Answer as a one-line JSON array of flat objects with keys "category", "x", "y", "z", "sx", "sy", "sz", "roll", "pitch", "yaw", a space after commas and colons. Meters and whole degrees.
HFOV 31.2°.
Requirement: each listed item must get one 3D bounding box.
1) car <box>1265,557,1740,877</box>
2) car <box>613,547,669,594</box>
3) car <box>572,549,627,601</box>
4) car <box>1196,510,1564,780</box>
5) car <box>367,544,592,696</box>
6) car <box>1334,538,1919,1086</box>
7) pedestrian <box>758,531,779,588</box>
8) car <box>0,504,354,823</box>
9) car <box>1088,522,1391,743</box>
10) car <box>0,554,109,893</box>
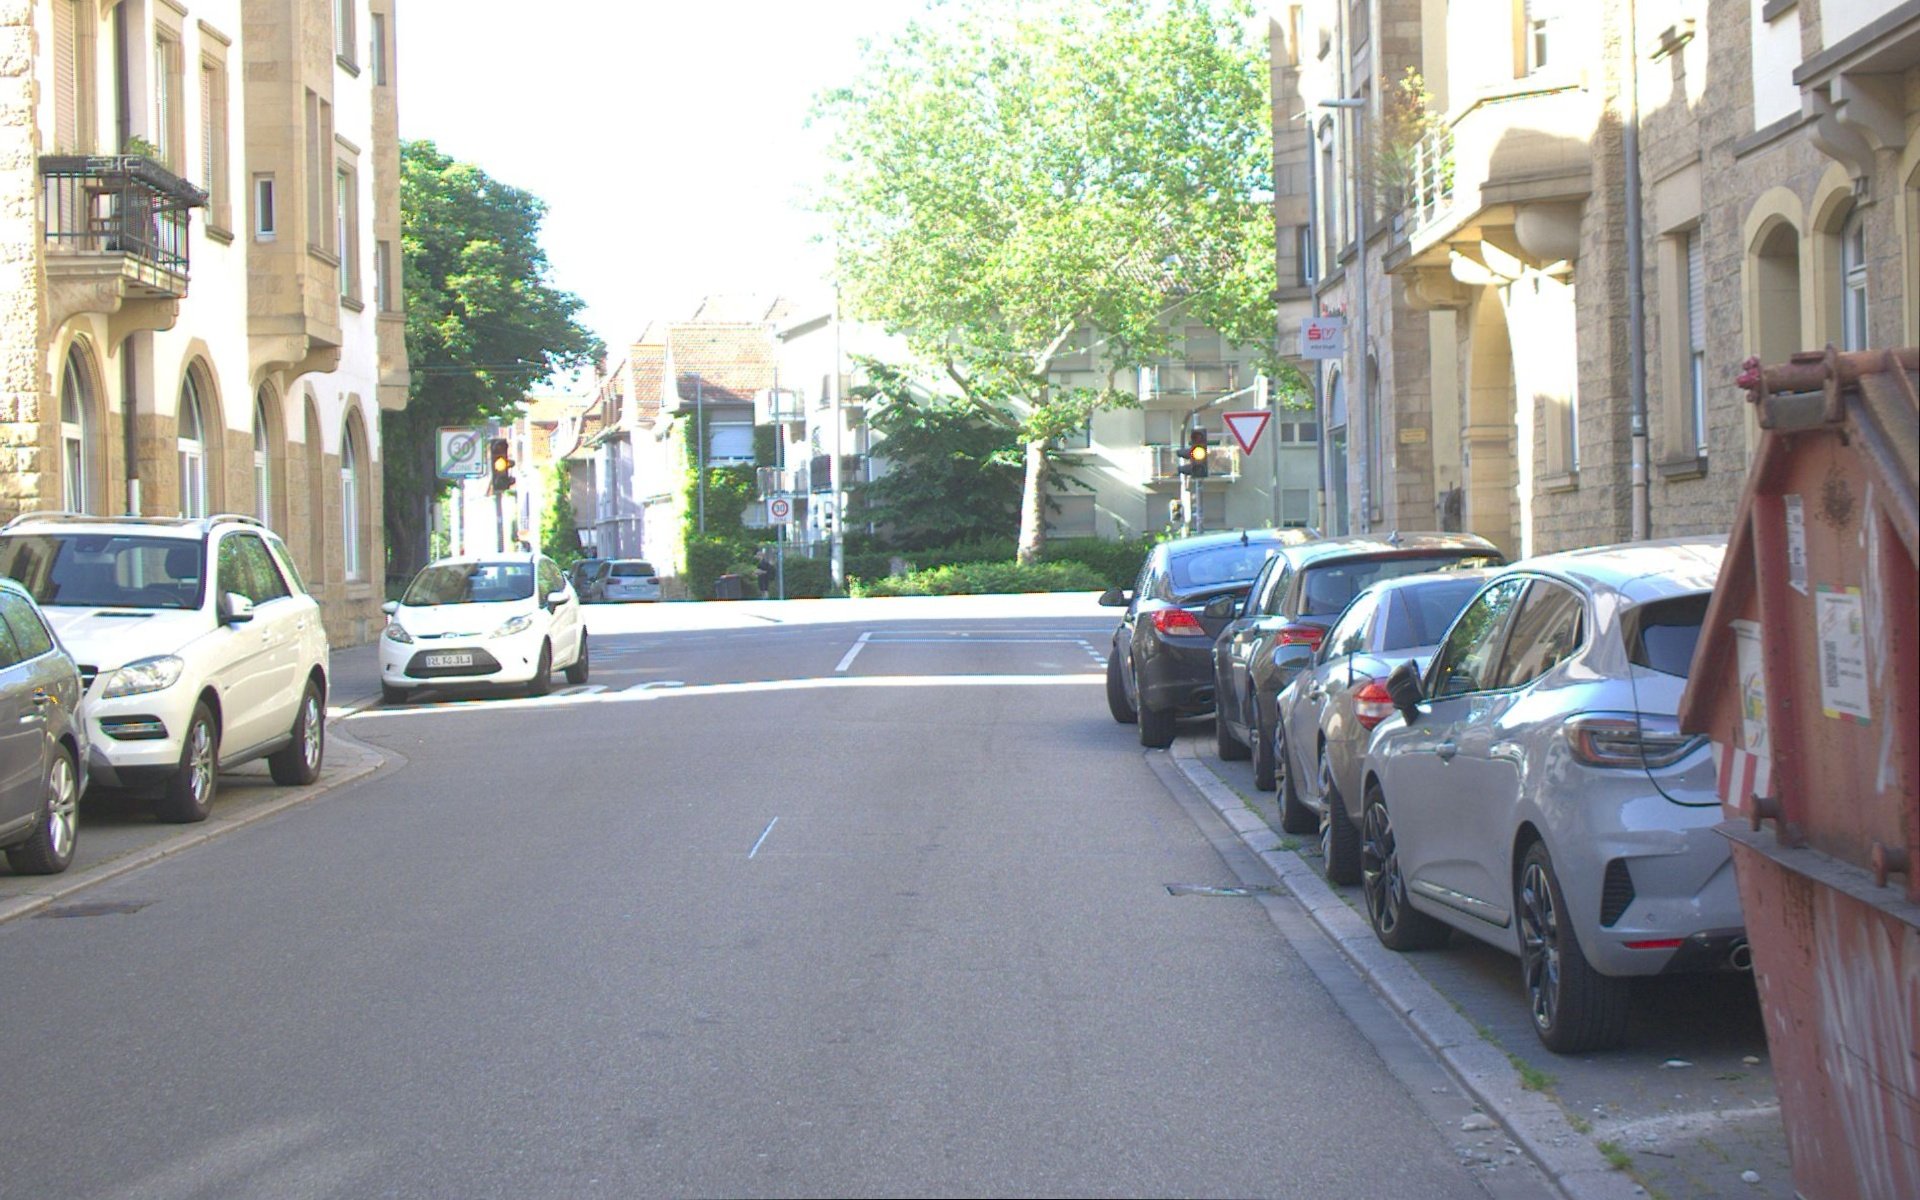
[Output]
[{"category": "car", "x": 2.397, "y": 0.457, "z": 16.060, "sx": 1.693, "sy": 1.250, "sz": 3.941, "roll": -1, "pitch": 1, "yaw": 2}, {"category": "car", "x": -10.315, "y": -0.948, "z": 111.250, "sx": 1.674, "sy": 1.477, "sz": 3.522, "roll": 0, "pitch": 0, "yaw": -4}, {"category": "car", "x": -14.586, "y": -1.028, "z": 138.978, "sx": 1.993, "sy": 2.007, "sz": 4.001, "roll": -2, "pitch": 1, "yaw": -8}, {"category": "car", "x": 2.472, "y": 0.198, "z": 21.160, "sx": 1.651, "sy": 1.437, "sz": 4.259, "roll": -2, "pitch": 1, "yaw": -1}, {"category": "car", "x": -4.954, "y": 0.165, "z": 35.869, "sx": 1.634, "sy": 1.459, "sz": 3.734, "roll": -1, "pitch": 1, "yaw": 3}, {"category": "car", "x": 2.429, "y": 0.538, "z": 11.218, "sx": 1.786, "sy": 1.425, "sz": 3.808, "roll": -1, "pitch": 1, "yaw": -3}, {"category": "pedestrian", "x": -5.809, "y": -1.227, "z": 104.378, "sx": 0.633, "sy": 1.744, "sz": 0.659, "roll": 0, "pitch": 0, "yaw": -2}, {"category": "car", "x": -5.071, "y": 0.299, "z": 20.875, "sx": 1.892, "sy": 1.716, "sz": 4.726, "roll": 0, "pitch": 1, "yaw": 1}, {"category": "car", "x": 2.010, "y": 0.177, "z": 25.892, "sx": 1.865, "sy": 1.457, "sz": 4.340, "roll": -2, "pitch": 1, "yaw": 0}, {"category": "car", "x": -5.042, "y": 0.561, "z": 14.948, "sx": 1.573, "sy": 1.482, "sz": 4.280, "roll": 0, "pitch": 1, "yaw": 1}]
